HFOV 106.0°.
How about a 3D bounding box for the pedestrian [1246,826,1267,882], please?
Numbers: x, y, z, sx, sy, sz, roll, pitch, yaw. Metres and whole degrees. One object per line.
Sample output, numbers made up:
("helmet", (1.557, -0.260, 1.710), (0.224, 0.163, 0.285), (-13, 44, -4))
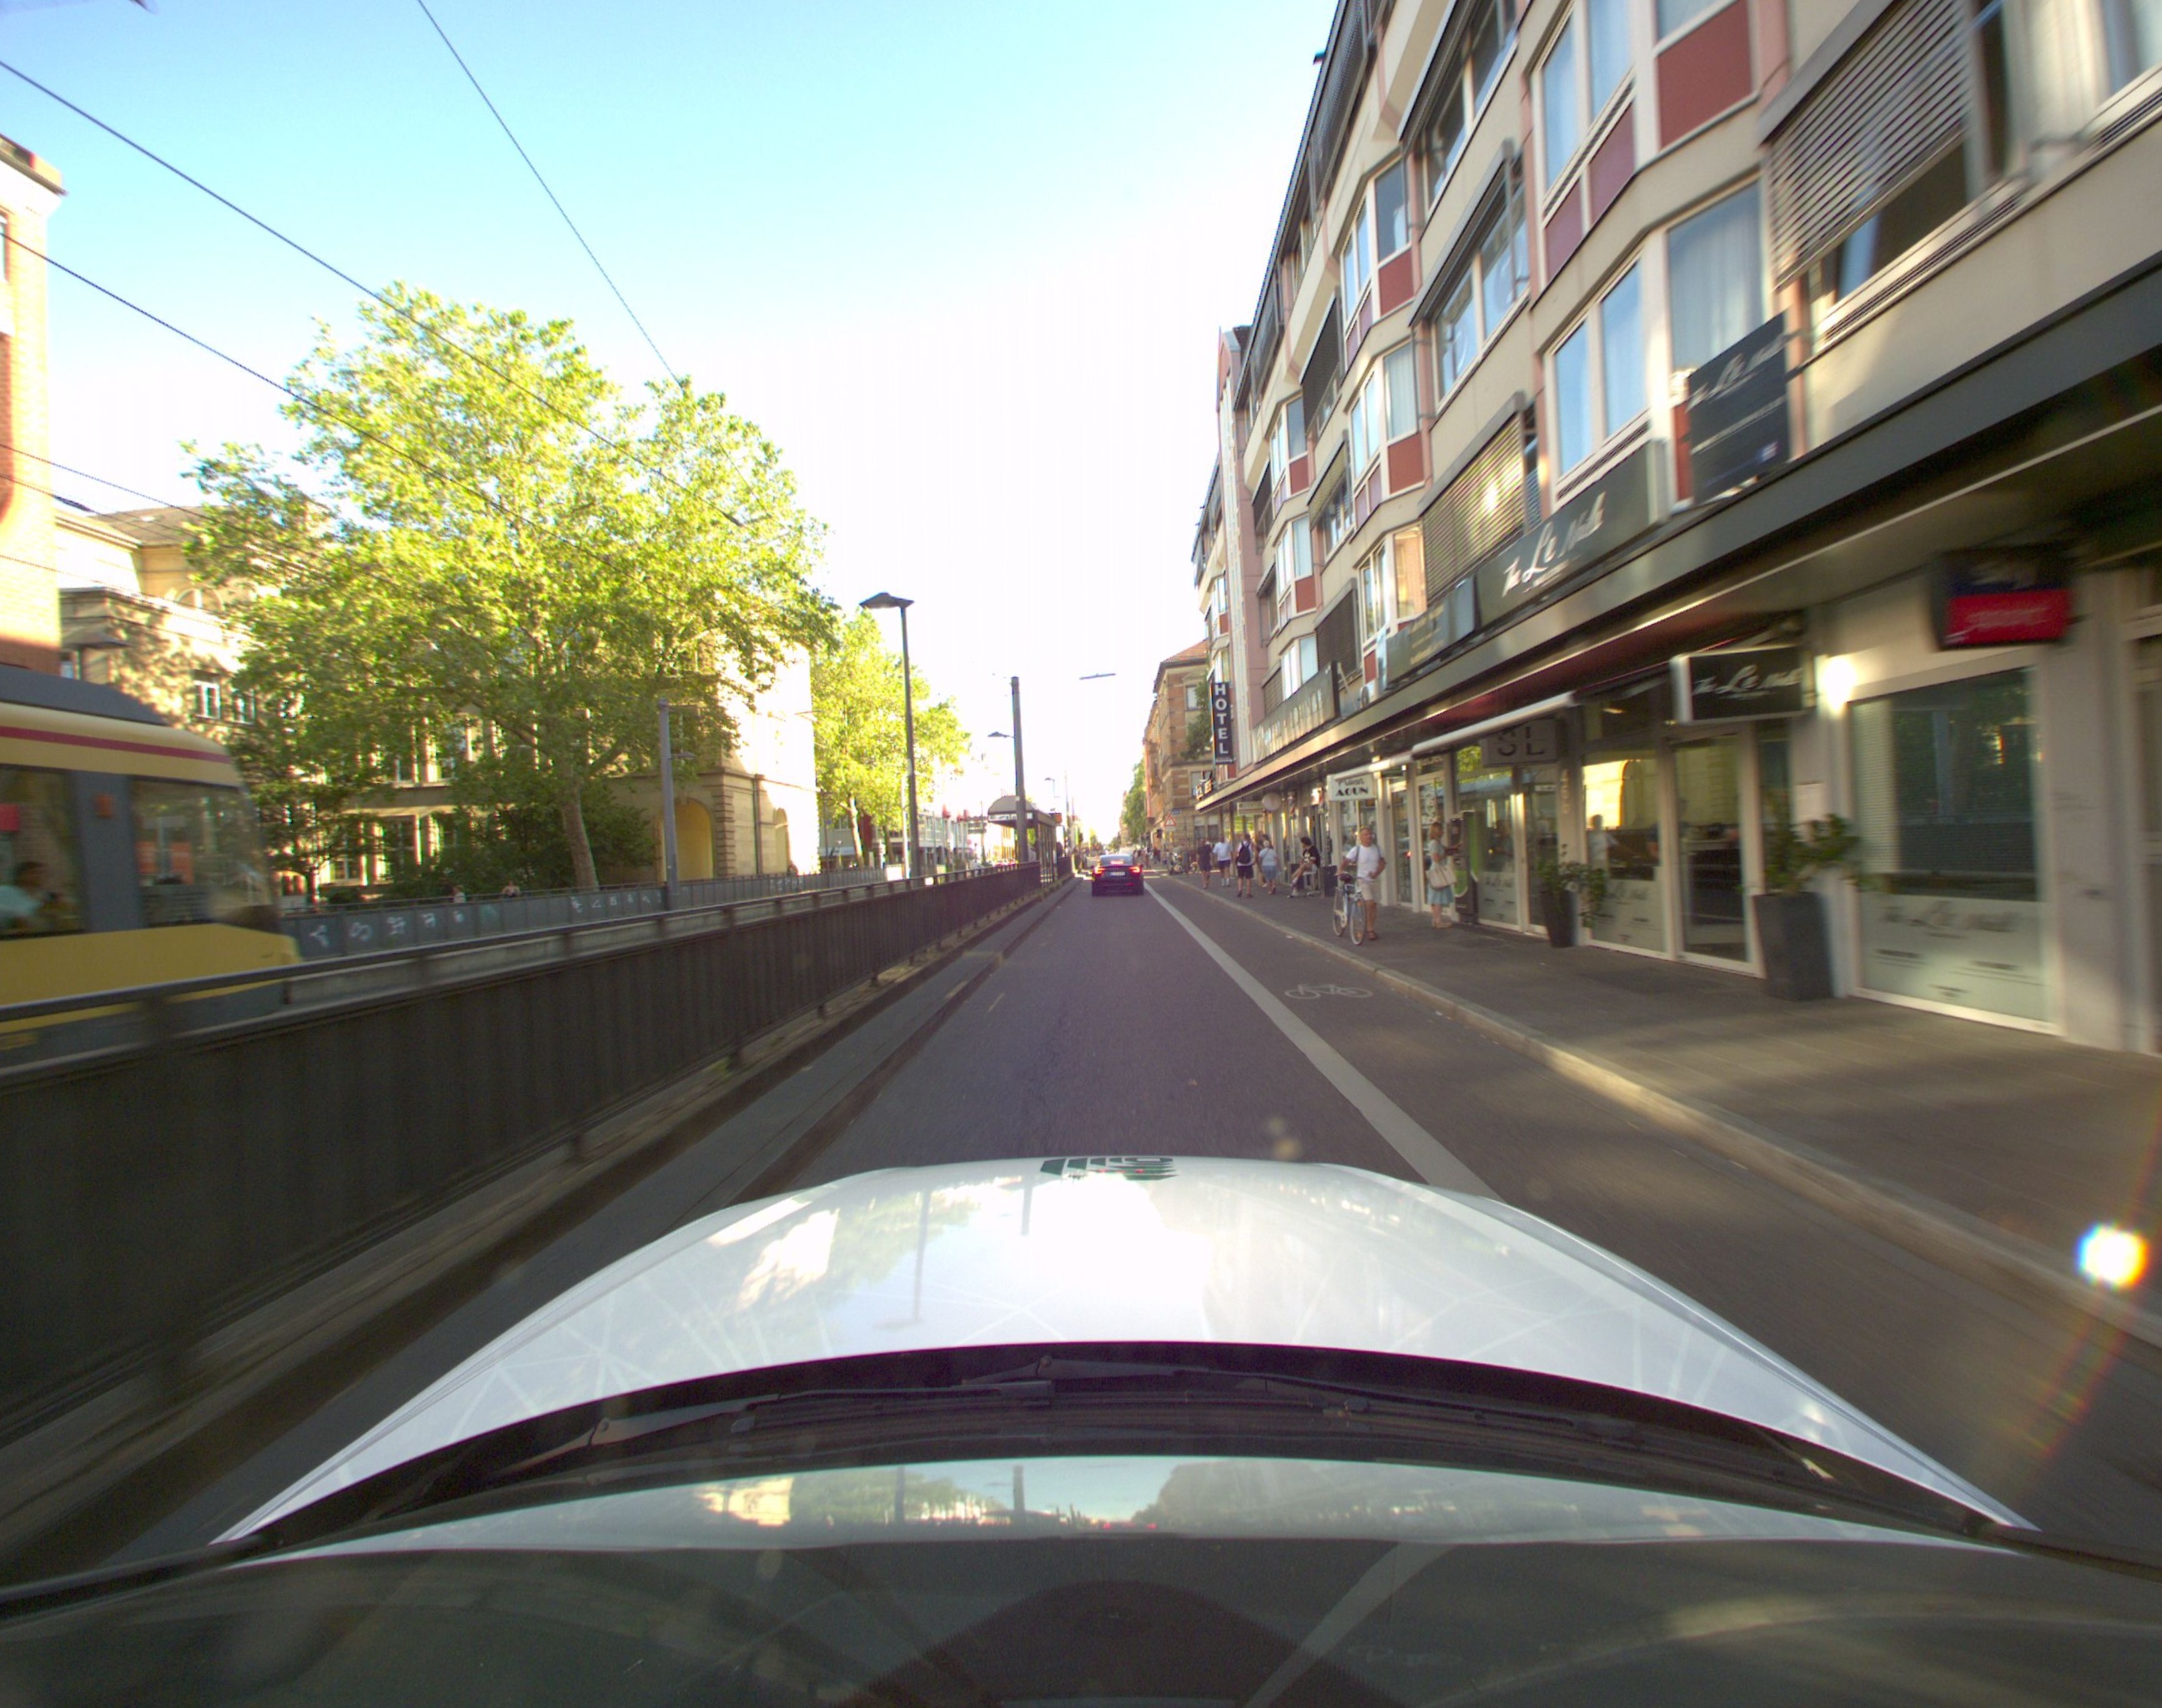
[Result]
("pedestrian", (6.002, -0.007, 27.929), (0.449, 1.849, 0.812), (-4, 0, 3))

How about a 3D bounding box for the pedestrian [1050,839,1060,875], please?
("pedestrian", (-1.205, 0.137, 37.416), (0.350, 1.669, 0.529), (-3, 0, 1))

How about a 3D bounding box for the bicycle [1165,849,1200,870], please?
("bicycle", (5.961, 0.334, 47.780), (1.939, 1.107, 0.564), (-3, 0, 0))

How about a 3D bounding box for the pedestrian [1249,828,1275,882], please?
("pedestrian", (6.042, 0.036, 27.193), (0.627, 1.769, 0.501), (-4, 0, 2))

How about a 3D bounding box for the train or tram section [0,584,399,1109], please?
("train or tram section", (-9.194, 0.055, 0.528), (2.962, 3.644, 16.496), (-1, 1, 2))

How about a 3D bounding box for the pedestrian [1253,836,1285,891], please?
("pedestrian", (5.296, 0.255, 23.010), (0.633, 1.483, 0.654), (-6, 0, 1))

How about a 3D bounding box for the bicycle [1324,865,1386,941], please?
("bicycle", (4.039, 0.689, 12.120), (0.301, 0.990, 1.760), (-4, 0, 1))

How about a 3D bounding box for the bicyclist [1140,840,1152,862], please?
("bicyclist", (4.868, -0.228, 61.143), (0.655, 1.655, 0.924), (-2, 0, -11))

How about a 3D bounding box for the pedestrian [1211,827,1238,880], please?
("pedestrian", (5.101, -0.015, 28.959), (0.703, 1.820, 0.764), (-6, 0, 2))

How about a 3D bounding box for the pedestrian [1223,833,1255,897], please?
("pedestrian", (4.371, 0.302, 22.583), (0.741, 1.727, 0.815), (-1, 0, 2))

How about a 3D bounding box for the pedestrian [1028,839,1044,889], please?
("pedestrian", (-1.438, 0.325, 26.062), (0.422, 1.573, 0.448), (-2, 0, 2))

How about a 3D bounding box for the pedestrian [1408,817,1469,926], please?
("pedestrian", (5.464, 0.262, 12.470), (0.598, 1.590, 0.554), (-4, 0, 1))

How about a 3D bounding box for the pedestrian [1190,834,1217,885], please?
("pedestrian", (4.331, 0.199, 28.798), (0.665, 1.728, 0.810), (-6, 0, 1))

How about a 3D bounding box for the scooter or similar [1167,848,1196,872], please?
("scooter or similar", (5.578, 0.322, 45.103), (1.473, 1.229, 0.592), (-5, 0, 2))

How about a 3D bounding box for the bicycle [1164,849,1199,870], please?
("bicycle", (5.954, 0.337, 48.429), (1.939, 1.107, 0.564), (-3, 0, 0))

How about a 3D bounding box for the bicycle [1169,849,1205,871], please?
("bicycle", (5.947, 0.320, 45.750), (1.939, 1.107, 0.564), (-3, 0, 0))

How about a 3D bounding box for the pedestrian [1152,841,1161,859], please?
("pedestrian", (7.437, -0.397, 80.207), (0.464, 1.728, 0.591), (-3, 1, 38))

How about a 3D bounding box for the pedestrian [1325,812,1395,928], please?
("pedestrian", (4.168, 0.237, 12.212), (0.660, 1.630, 0.705), (-5, 0, 1))

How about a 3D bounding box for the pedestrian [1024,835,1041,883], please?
("pedestrian", (-1.606, 0.166, 26.990), (0.422, 1.573, 0.593), (-2, 0, 2))

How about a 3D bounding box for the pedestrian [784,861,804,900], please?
("pedestrian", (-15.138, 1.413, 42.983), (0.694, 2.013, 0.693), (-2, 0, 42))

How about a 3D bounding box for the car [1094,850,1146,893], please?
("car", (1.365, 0.582, 29.386), (1.713, 1.405, 3.711), (-2, 0, 1))

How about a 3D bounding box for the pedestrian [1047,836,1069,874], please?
("pedestrian", (-1.121, 0.037, 40.296), (0.775, 1.831, 0.796), (-1, -1, -28))

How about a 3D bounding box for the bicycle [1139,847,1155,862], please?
("bicycle", (4.916, 0.038, 60.978), (0.647, 1.139, 2.088), (-2, 0, -10))

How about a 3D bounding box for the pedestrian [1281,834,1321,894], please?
("pedestrian", (5.682, 0.256, 21.091), (0.735, 1.472, 0.707), (-6, 0, 2))
